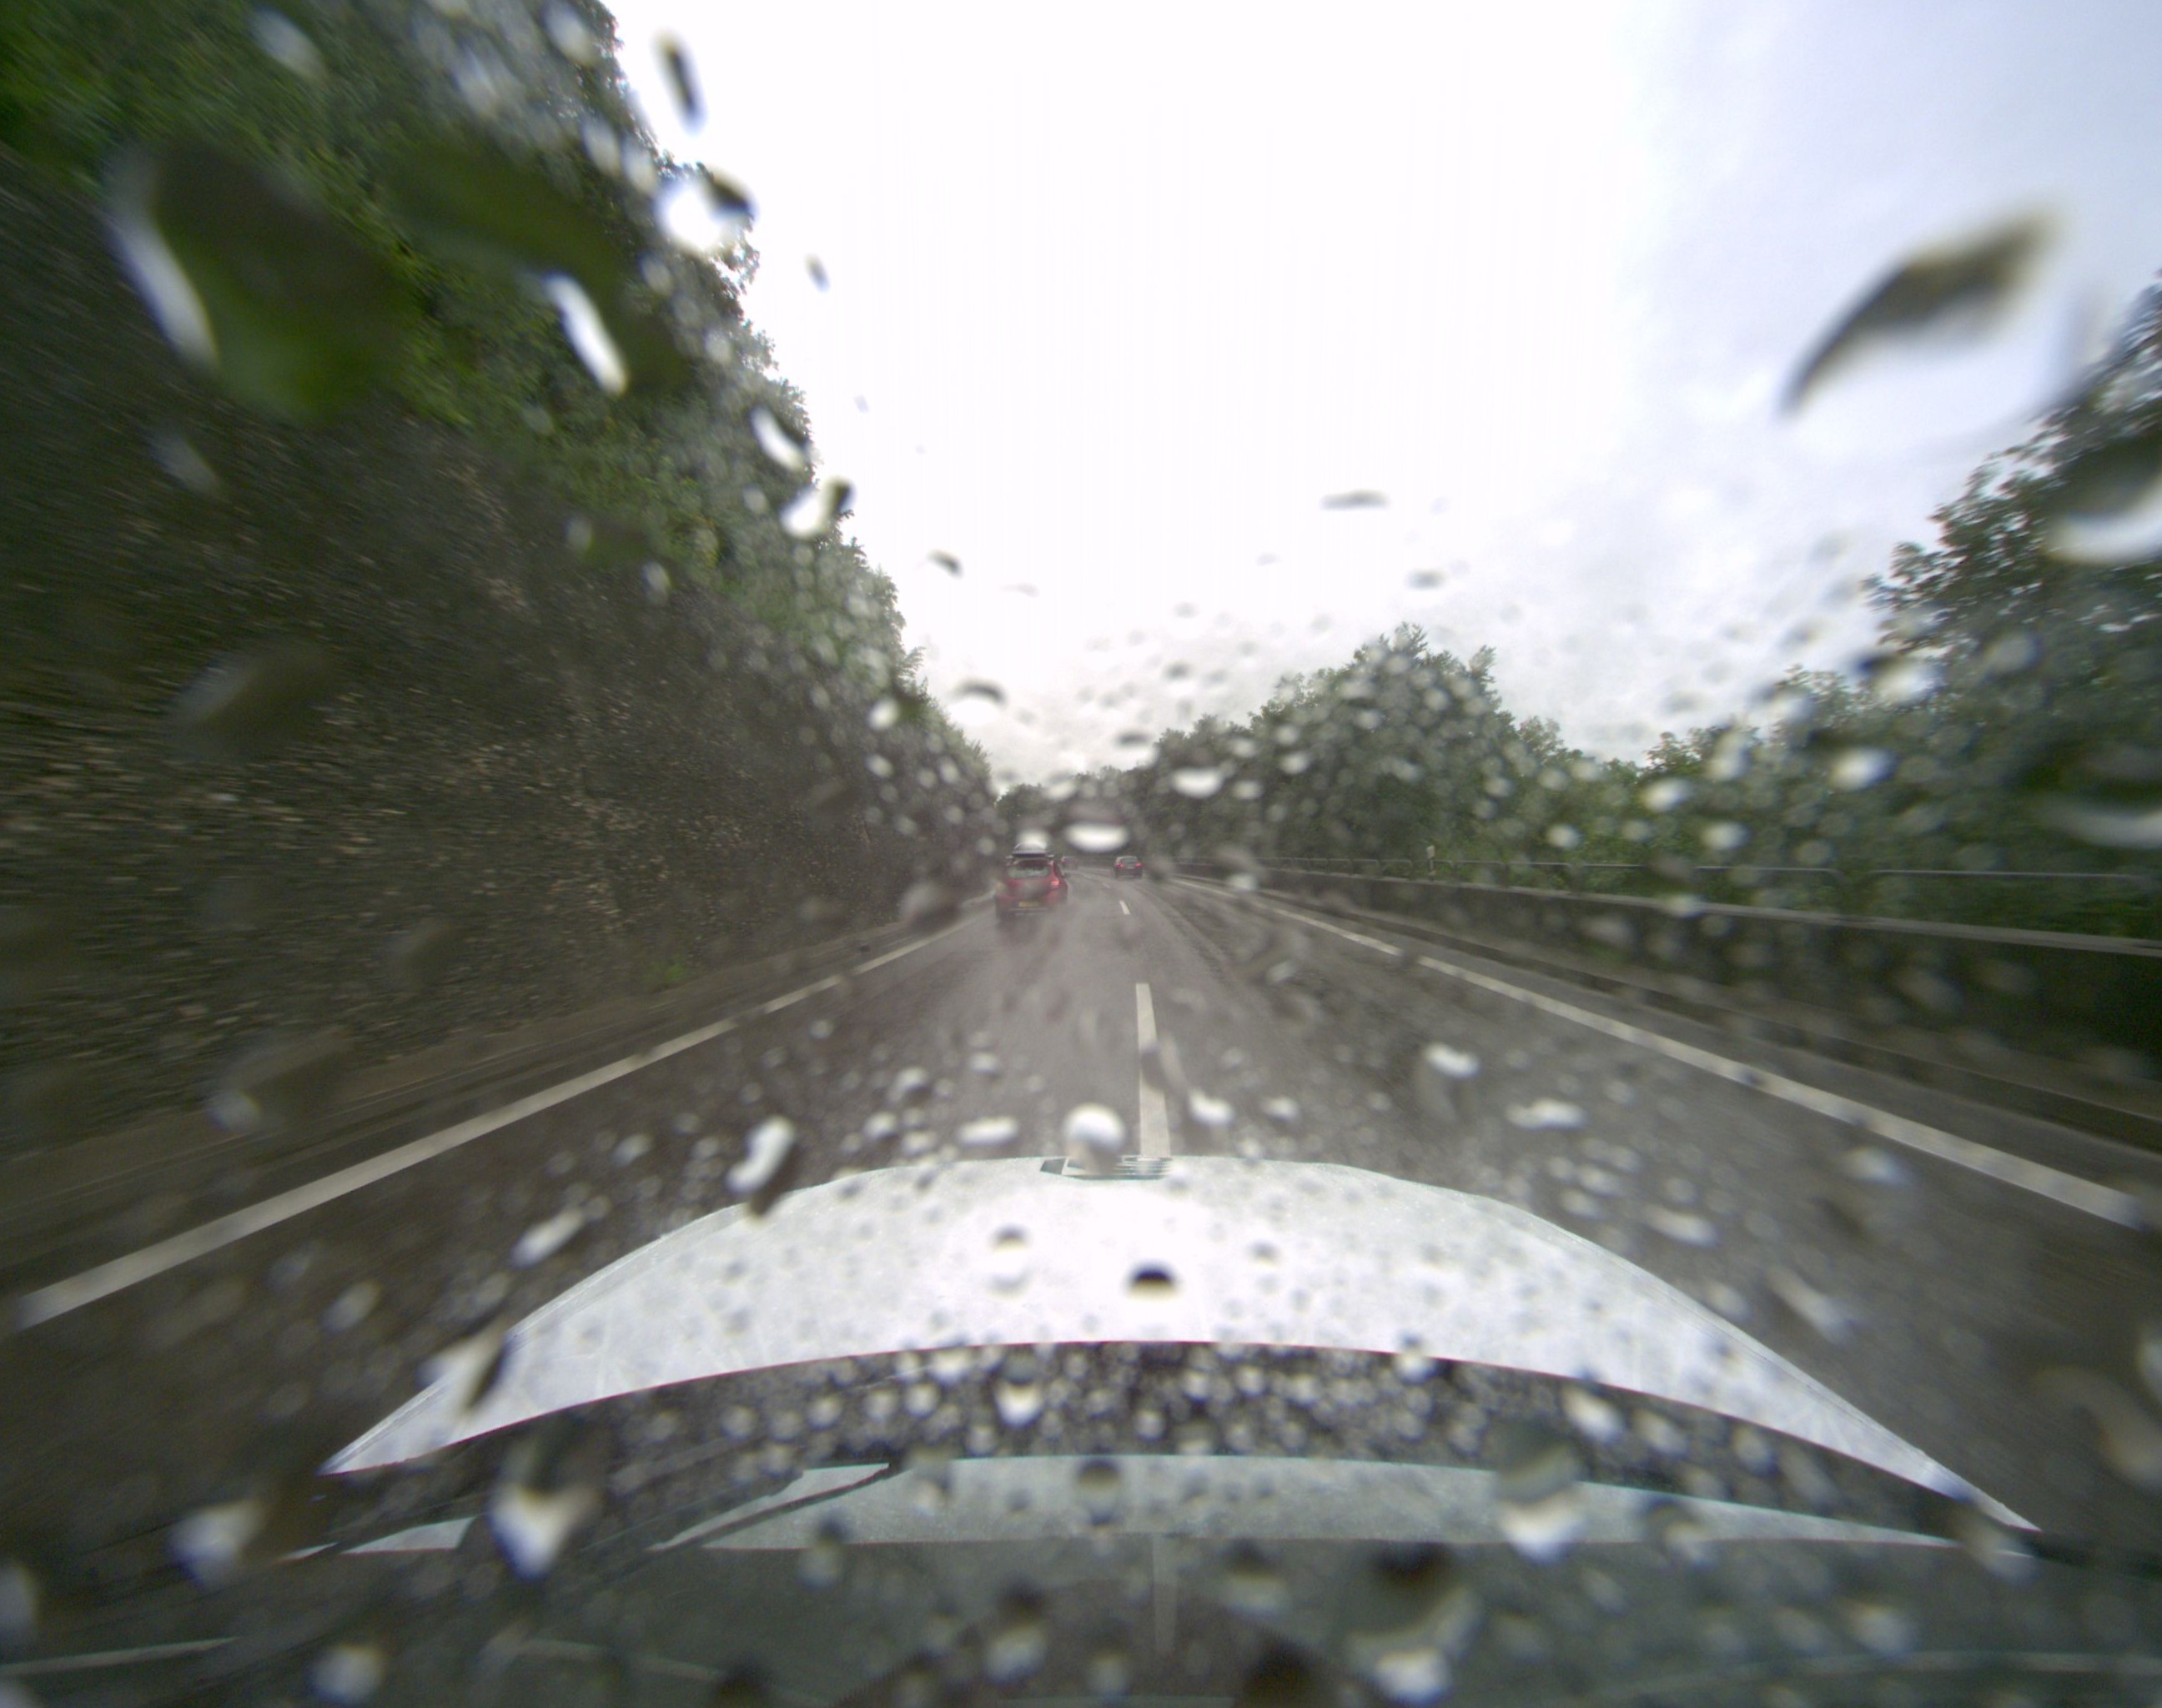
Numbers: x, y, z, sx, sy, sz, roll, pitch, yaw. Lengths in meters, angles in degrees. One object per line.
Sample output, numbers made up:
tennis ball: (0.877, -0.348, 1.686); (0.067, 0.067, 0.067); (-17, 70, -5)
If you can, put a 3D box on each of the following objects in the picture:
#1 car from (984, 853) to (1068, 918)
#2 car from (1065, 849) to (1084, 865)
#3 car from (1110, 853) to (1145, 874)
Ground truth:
car: (-1.394, 0.791, 22.209); (1.987, 1.552, 3.999); (-1, 0, 0)
car: (-0.765, 0.318, 91.691); (1.988, 1.750, 3.997); (-1, -1, -2)
car: (3.066, 0.615, 54.900); (1.797, 1.307, 3.993); (-1, 0, -5)
